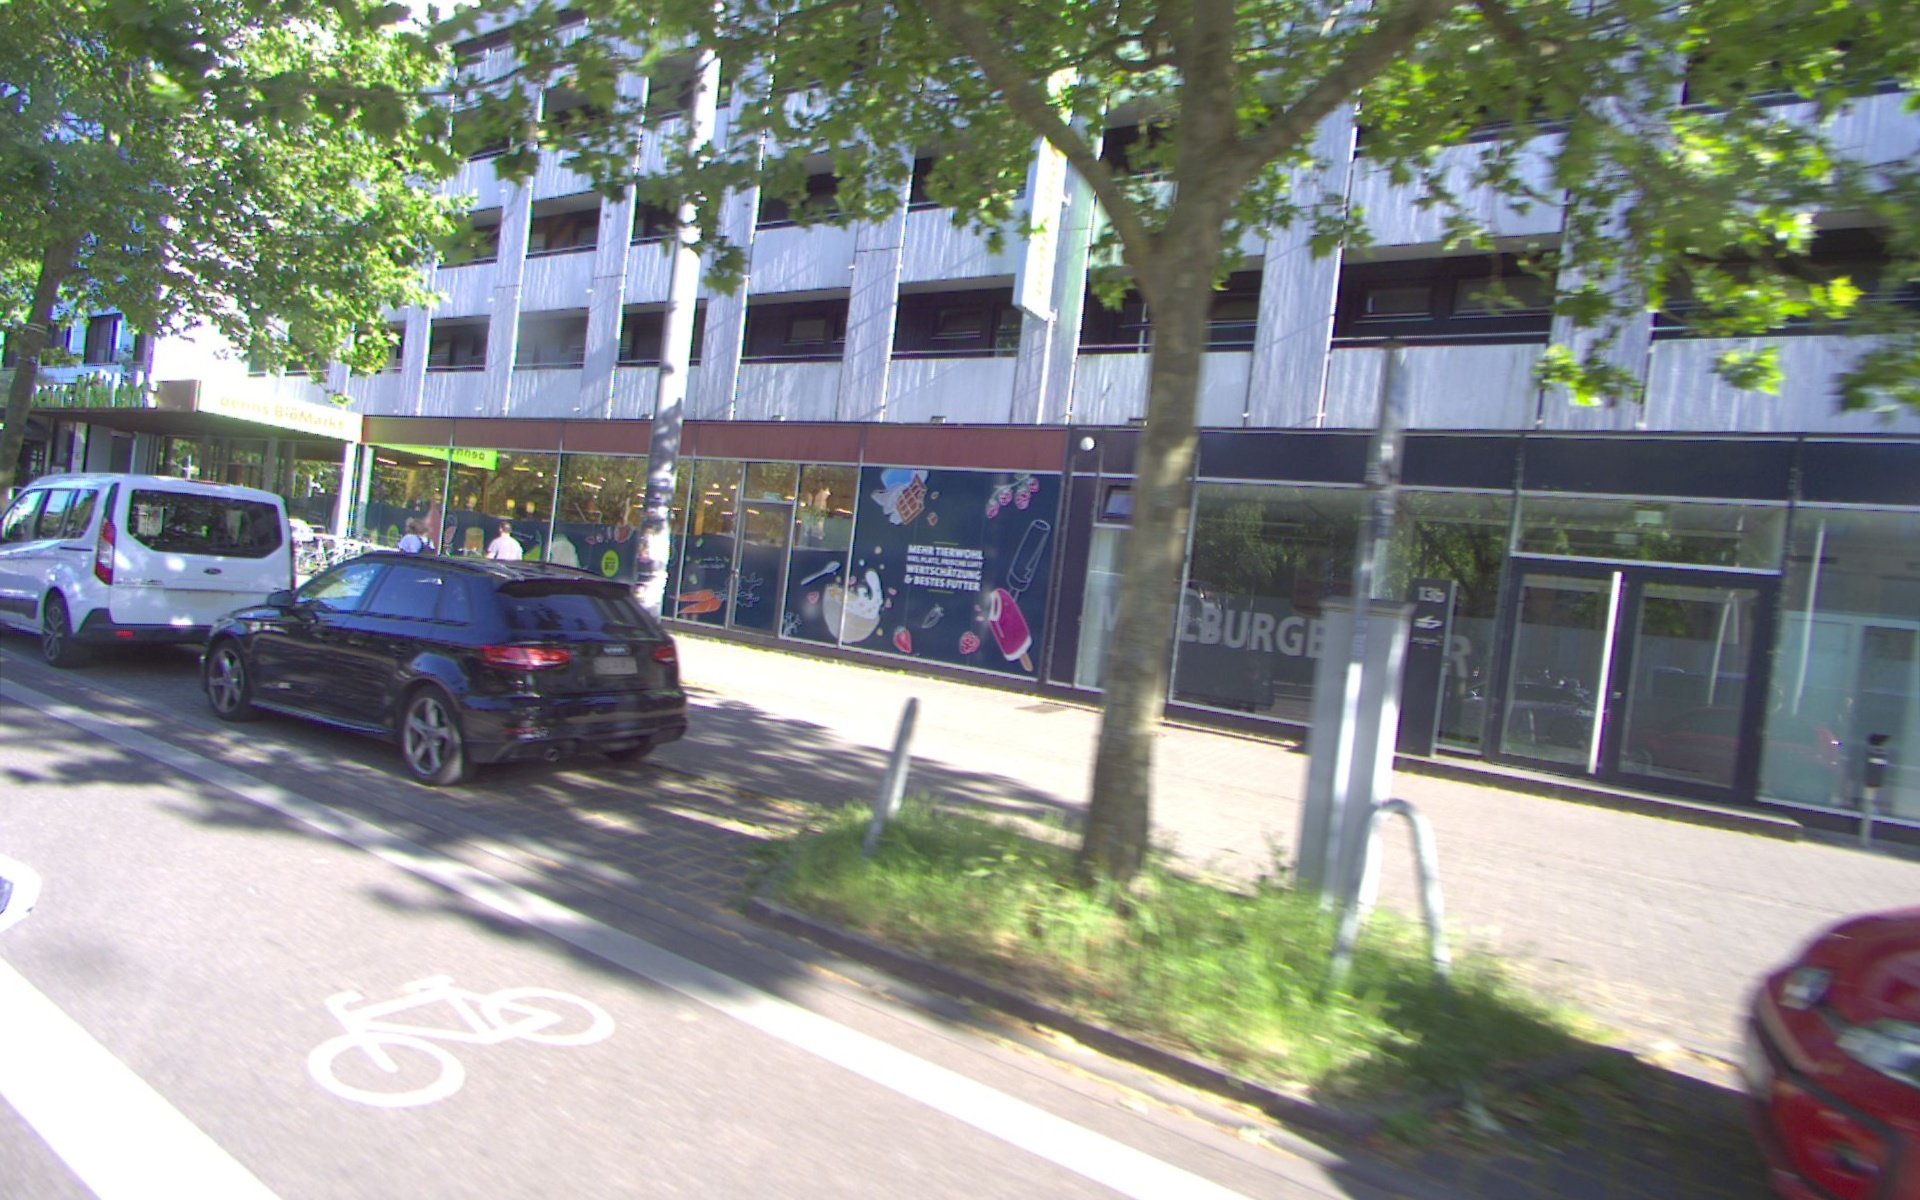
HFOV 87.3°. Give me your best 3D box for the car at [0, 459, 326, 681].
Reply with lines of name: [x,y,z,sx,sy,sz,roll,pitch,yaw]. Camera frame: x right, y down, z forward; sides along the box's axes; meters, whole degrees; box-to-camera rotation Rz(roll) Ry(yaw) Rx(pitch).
car: [-8.694,-0.386,10.450,4.320,1.815,1.765,7,1,32]

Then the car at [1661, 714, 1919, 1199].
car: [3.937,1.302,2.256,3.628,1.457,1.673,6,2,31]

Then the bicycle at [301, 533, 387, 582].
bicycle: [-14.214,-0.970,23.260,1.634,0.929,0.580,5,5,-32]

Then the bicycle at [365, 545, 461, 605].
bicycle: [-11.493,-0.514,21.150,1.686,1.070,0.580,5,4,-32]

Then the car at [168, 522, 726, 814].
car: [-3.987,0.349,7.607,4.223,1.421,1.730,7,1,31]

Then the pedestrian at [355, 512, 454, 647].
pedestrian: [-7.121,-0.258,12.899,0.854,1.634,0.697,7,3,33]

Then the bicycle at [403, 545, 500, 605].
bicycle: [-10.501,-0.504,20.780,1.686,1.070,0.580,4,3,-32]

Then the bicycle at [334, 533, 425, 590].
bicycle: [-12.981,-0.855,22.535,1.686,1.070,0.580,5,5,-32]

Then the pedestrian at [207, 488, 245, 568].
pedestrian: [-16.999,-1.667,23.294,0.608,1.739,0.606,4,5,-37]

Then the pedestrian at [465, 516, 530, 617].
pedestrian: [-8.207,-0.593,17.857,0.867,1.701,0.557,7,3,31]
